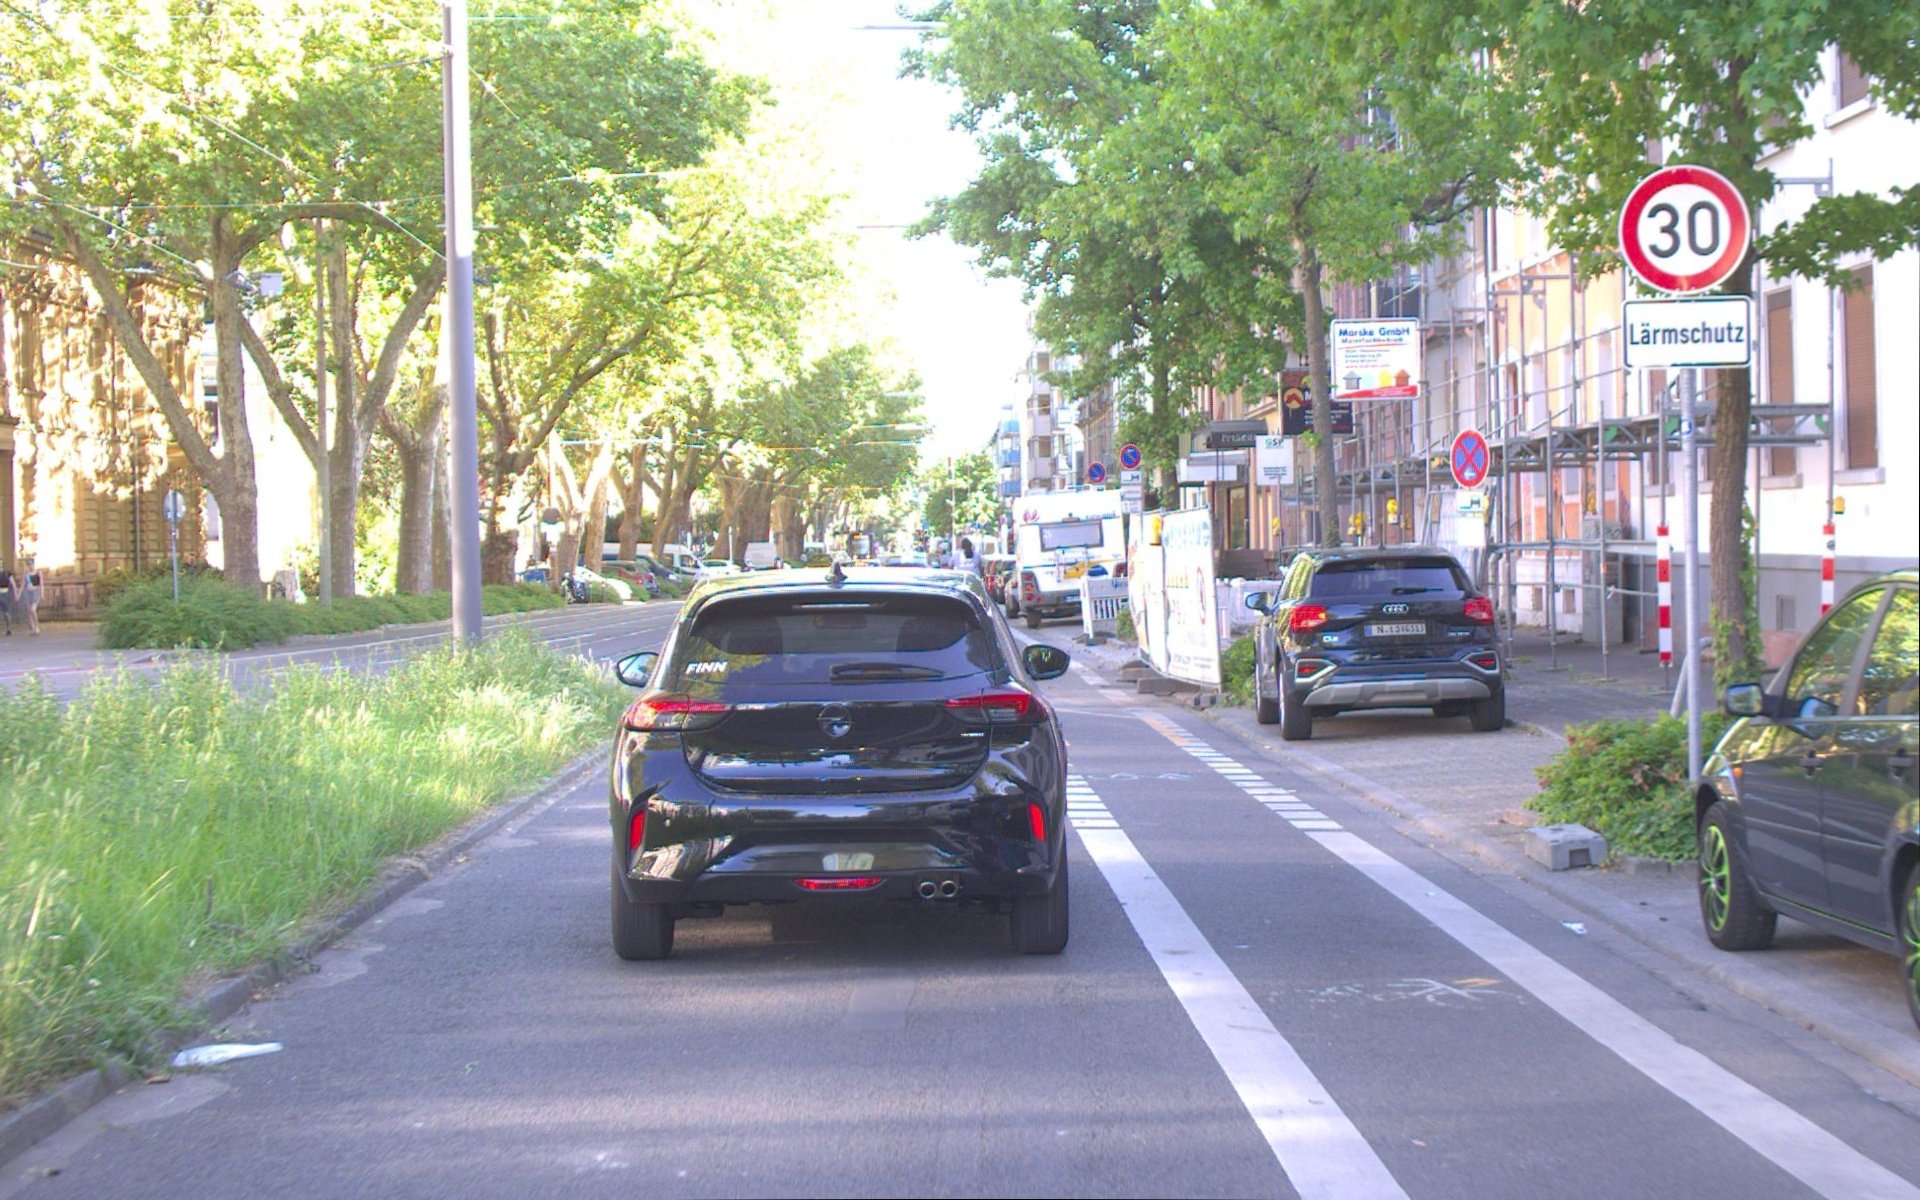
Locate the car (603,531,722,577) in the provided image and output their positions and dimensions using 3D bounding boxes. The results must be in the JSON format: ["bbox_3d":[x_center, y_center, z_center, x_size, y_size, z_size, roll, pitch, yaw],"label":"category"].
[{"bbox_3d":[-14.765,-2.293,170.927,5.687,2.190,2.289,-1,1,0],"label":"car"}]

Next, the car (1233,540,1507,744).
[{"bbox_3d":[3.334,0.293,28.626,1.790,1.505,3.874,-2,1,1],"label":"car"}]

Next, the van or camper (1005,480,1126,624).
[{"bbox_3d":[2.271,-1.045,74.968,2.486,2.983,5.434,1,1,1],"label":"van or camper"}]

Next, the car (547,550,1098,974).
[{"bbox_3d":[-0.442,0.537,14.117,1.905,1.420,4.215,-1,1,1],"label":"car"}]

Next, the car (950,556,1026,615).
[{"bbox_3d":[0.756,-0.393,89.609,1.905,1.420,4.215,-1,1,1],"label":"car"}]

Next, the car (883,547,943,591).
[{"bbox_3d":[-1.598,-1.076,117.610,1.905,1.420,4.215,-1,1,1],"label":"car"}]

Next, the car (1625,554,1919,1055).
[{"bbox_3d":[3.567,0.570,11.607,1.685,1.415,4.049,-2,1,-2],"label":"car"}]

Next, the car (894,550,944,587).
[{"bbox_3d":[-1.654,-1.281,140.278,1.905,1.420,4.215,-1,1,1],"label":"car"}]

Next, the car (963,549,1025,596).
[{"bbox_3d":[1.092,-0.886,108.652,1.905,1.420,4.215,-1,1,1],"label":"car"}]

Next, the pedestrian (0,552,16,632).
[{"bbox_3d":[-20.909,-0.185,74.654,0.618,1.727,0.596,1,1,-1],"label":"pedestrian"}]

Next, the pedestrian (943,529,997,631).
[{"bbox_3d":[0.196,-0.404,68.551,1.036,2.017,1.212,-1,1,-1],"label":"pedestrian"}]

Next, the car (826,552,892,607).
[{"bbox_3d":[-3.009,-0.626,103.138,1.790,1.505,3.874,-2,1,1],"label":"car"}]

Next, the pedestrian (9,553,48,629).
[{"bbox_3d":[-20.250,-0.194,74.737,0.658,1.616,0.615,1,1,-1],"label":"pedestrian"}]
